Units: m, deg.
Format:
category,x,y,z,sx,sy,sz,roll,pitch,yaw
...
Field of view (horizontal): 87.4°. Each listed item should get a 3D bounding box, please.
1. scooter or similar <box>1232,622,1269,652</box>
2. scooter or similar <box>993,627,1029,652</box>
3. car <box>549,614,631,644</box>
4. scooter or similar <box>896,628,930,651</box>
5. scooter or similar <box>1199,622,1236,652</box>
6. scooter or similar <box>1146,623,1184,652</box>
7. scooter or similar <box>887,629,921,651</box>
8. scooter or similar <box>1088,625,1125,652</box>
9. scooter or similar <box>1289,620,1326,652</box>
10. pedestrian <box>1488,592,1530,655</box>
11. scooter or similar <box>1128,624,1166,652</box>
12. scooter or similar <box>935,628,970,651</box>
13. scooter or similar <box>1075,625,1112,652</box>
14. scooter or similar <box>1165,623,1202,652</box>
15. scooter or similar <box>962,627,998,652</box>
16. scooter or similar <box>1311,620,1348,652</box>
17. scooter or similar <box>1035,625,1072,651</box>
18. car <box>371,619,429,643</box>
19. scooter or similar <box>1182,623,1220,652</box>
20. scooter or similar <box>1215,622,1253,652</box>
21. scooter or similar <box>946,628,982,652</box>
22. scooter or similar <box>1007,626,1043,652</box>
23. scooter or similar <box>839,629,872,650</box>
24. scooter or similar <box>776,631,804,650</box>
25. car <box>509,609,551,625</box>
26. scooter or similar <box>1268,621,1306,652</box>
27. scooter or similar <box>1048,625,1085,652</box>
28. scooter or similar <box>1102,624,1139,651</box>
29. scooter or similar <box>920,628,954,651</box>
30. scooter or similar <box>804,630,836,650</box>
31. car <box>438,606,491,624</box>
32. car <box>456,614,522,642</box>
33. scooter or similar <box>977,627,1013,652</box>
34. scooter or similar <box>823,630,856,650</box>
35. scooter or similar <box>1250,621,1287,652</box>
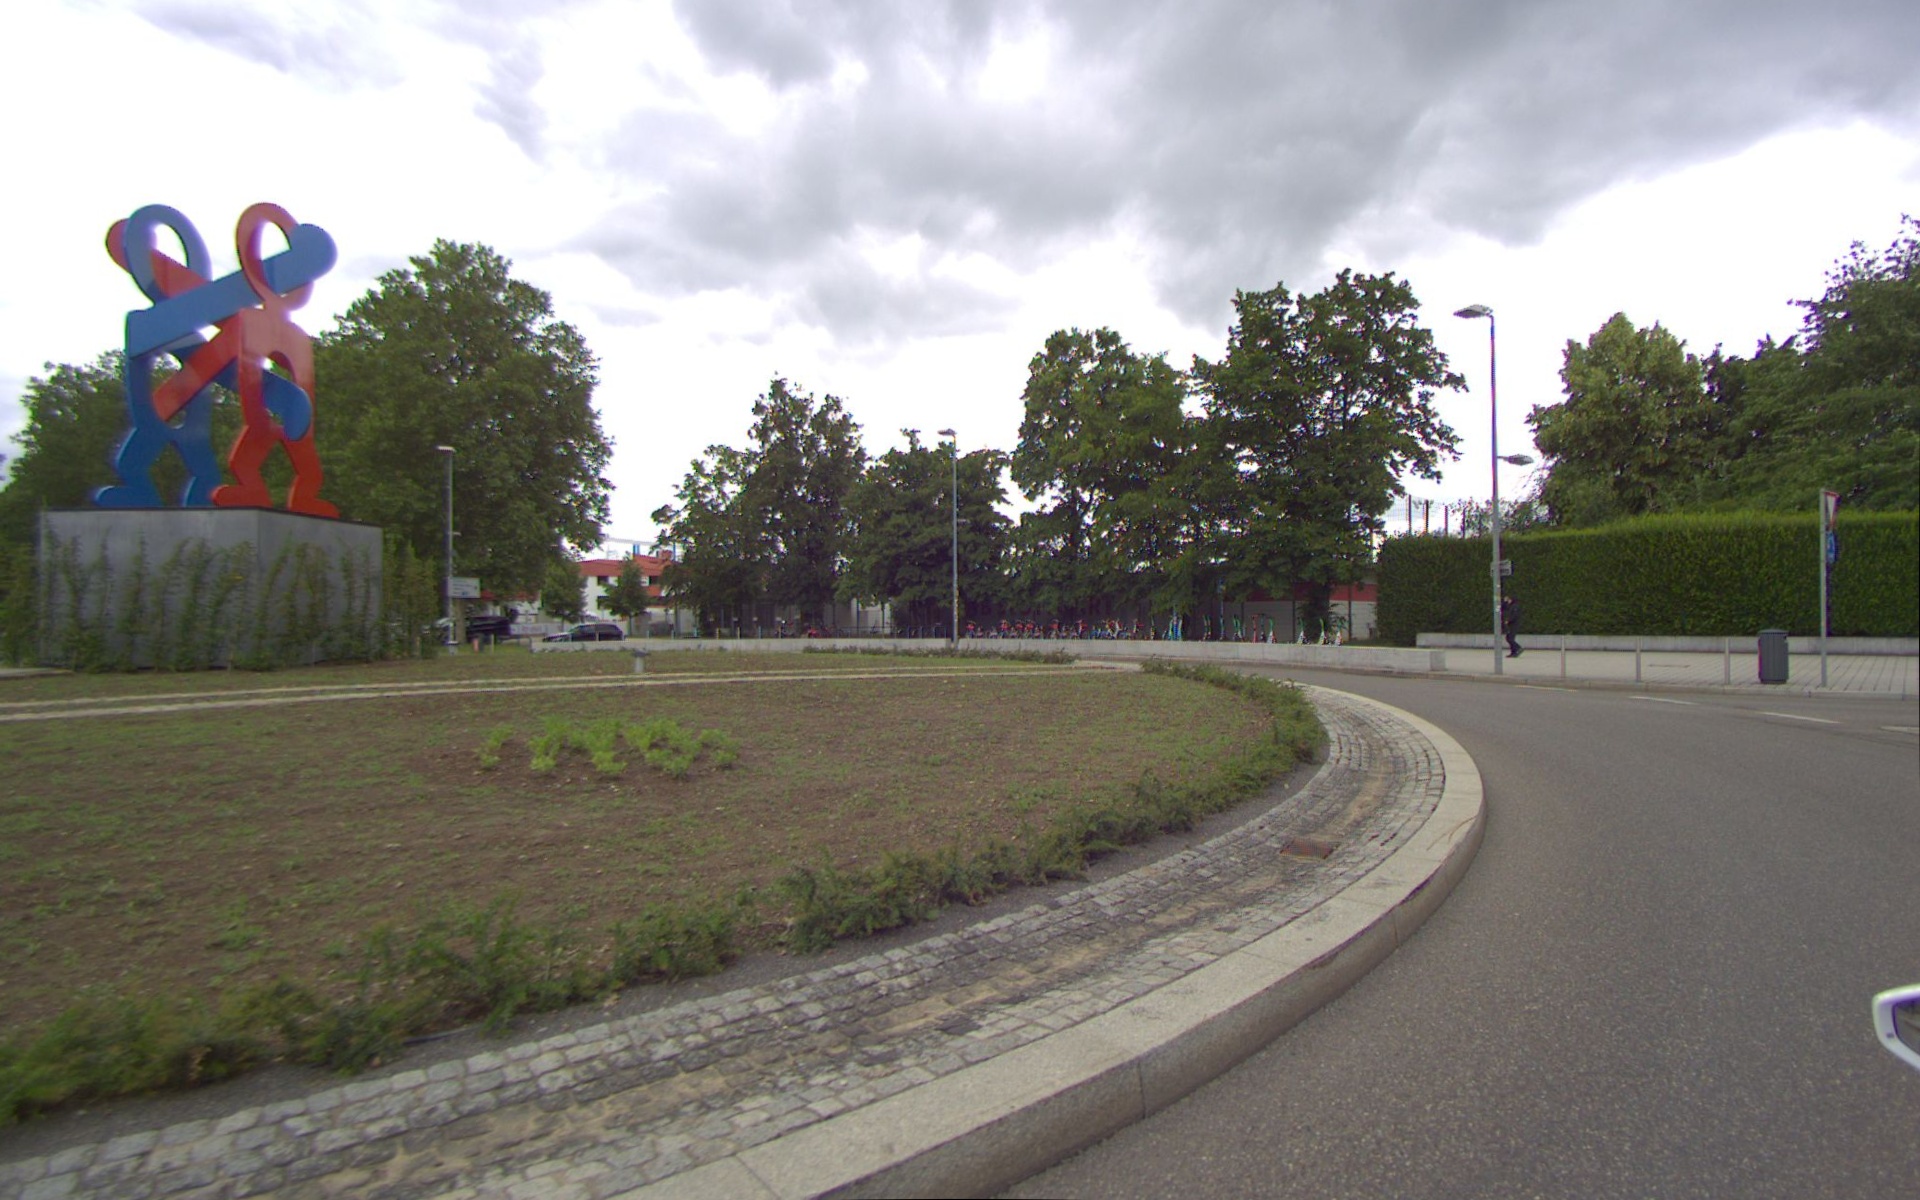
category,x,y,z,sx,sy,sz,roll,pitch,yaw
scooter or similar,11.410,1.434,39.411,0.631,1.124,1.965,-2,-1,41
scooter or similar,2.415,1.846,47.522,0.631,1.124,1.965,-2,-1,41
car,-20.186,1.579,54.846,1.754,1.545,3.805,-2,-1,42
scooter or similar,-2.505,2.105,53.651,0.631,1.124,1.965,-2,-1,41
scooter or similar,10.350,1.488,40.311,0.631,1.124,1.965,-2,-1,41
scooter or similar,8.566,1.565,41.939,0.631,1.124,1.965,-2,-1,41
scooter or similar,-3.038,2.147,54.286,0.631,1.124,1.965,-2,-1,41
scooter or similar,6.410,1.672,43.850,0.631,1.124,1.965,-2,-1,41
scooter or similar,13.129,1.359,37.932,0.631,1.124,1.965,-2,-1,41
pedestrian,16.246,0.694,29.716,0.788,1.831,0.855,-1,-1,-44
scooter or similar,7.920,1.590,42.484,0.631,1.124,1.965,-2,-1,41
scooter or similar,-0.372,1.976,50.480,0.631,1.119,1.965,-2,-1,41
scooter or similar,5.881,1.678,44.311,0.631,1.124,1.965,-2,-1,41
scooter or similar,9.212,1.526,41.373,0.631,1.124,1.965,-2,-1,41
scooter or similar,0.985,1.914,48.903,0.631,1.124,1.965,-2,-1,41
scooter or similar,13.747,1.336,37.375,0.631,1.124,1.965,-2,-1,41
scooter or similar,4.267,1.740,45.727,0.631,1.124,1.965,-2,-1,41
car,-43.282,2.391,77.598,3.681,1.801,1.651,-1,-1,-40
scooter or similar,9.802,1.513,40.837,0.631,1.124,1.965,-2,-1,41
scooter or similar,10.884,1.469,39.860,0.631,1.124,1.965,-2,-1,41
scooter or similar,0.196,1.973,49.967,0.631,1.124,1.965,-2,-1,41
scooter or similar,3.057,1.811,46.924,0.631,1.124,1.965,-2,-1,41
scooter or similar,-6.018,2.290,57.919,0.631,1.124,1.965,-2,-1,41
scooter or similar,-10.658,2.533,62.900,0.537,1.109,1.800,-2,-1,41
car,-47.693,1.879,111.439,1.770,1.674,3.936,-2,-1,41
scooter or similar,12.534,1.381,38.454,0.631,1.124,1.965,-2,-1,41
scooter or similar,4.811,1.728,45.271,0.631,1.124,1.965,-2,-1,41
scooter or similar,6.935,1.611,43.389,0.631,1.124,1.965,-2,-1,41
scooter or similar,-1.190,2.066,52.795,0.631,1.124,1.965,-2,-1,41
scooter or similar,-8.401,2.423,60.526,0.631,1.124,1.965,-2,-1,41
car,-49.274,1.508,99.881,1.770,1.674,4.414,-2,-1,41
car,-32.053,1.889,68.393,1.648,1.801,3.688,-2,-1,45
scooter or similar,1.706,1.890,48.271,0.631,1.124,1.965,-2,-1,41
scooter or similar,-7.058,2.354,58.957,0.631,1.124,1.965,-2,-1,41
scooter or similar,11.971,1.418,38.909,0.631,1.124,1.965,-2,-1,41
